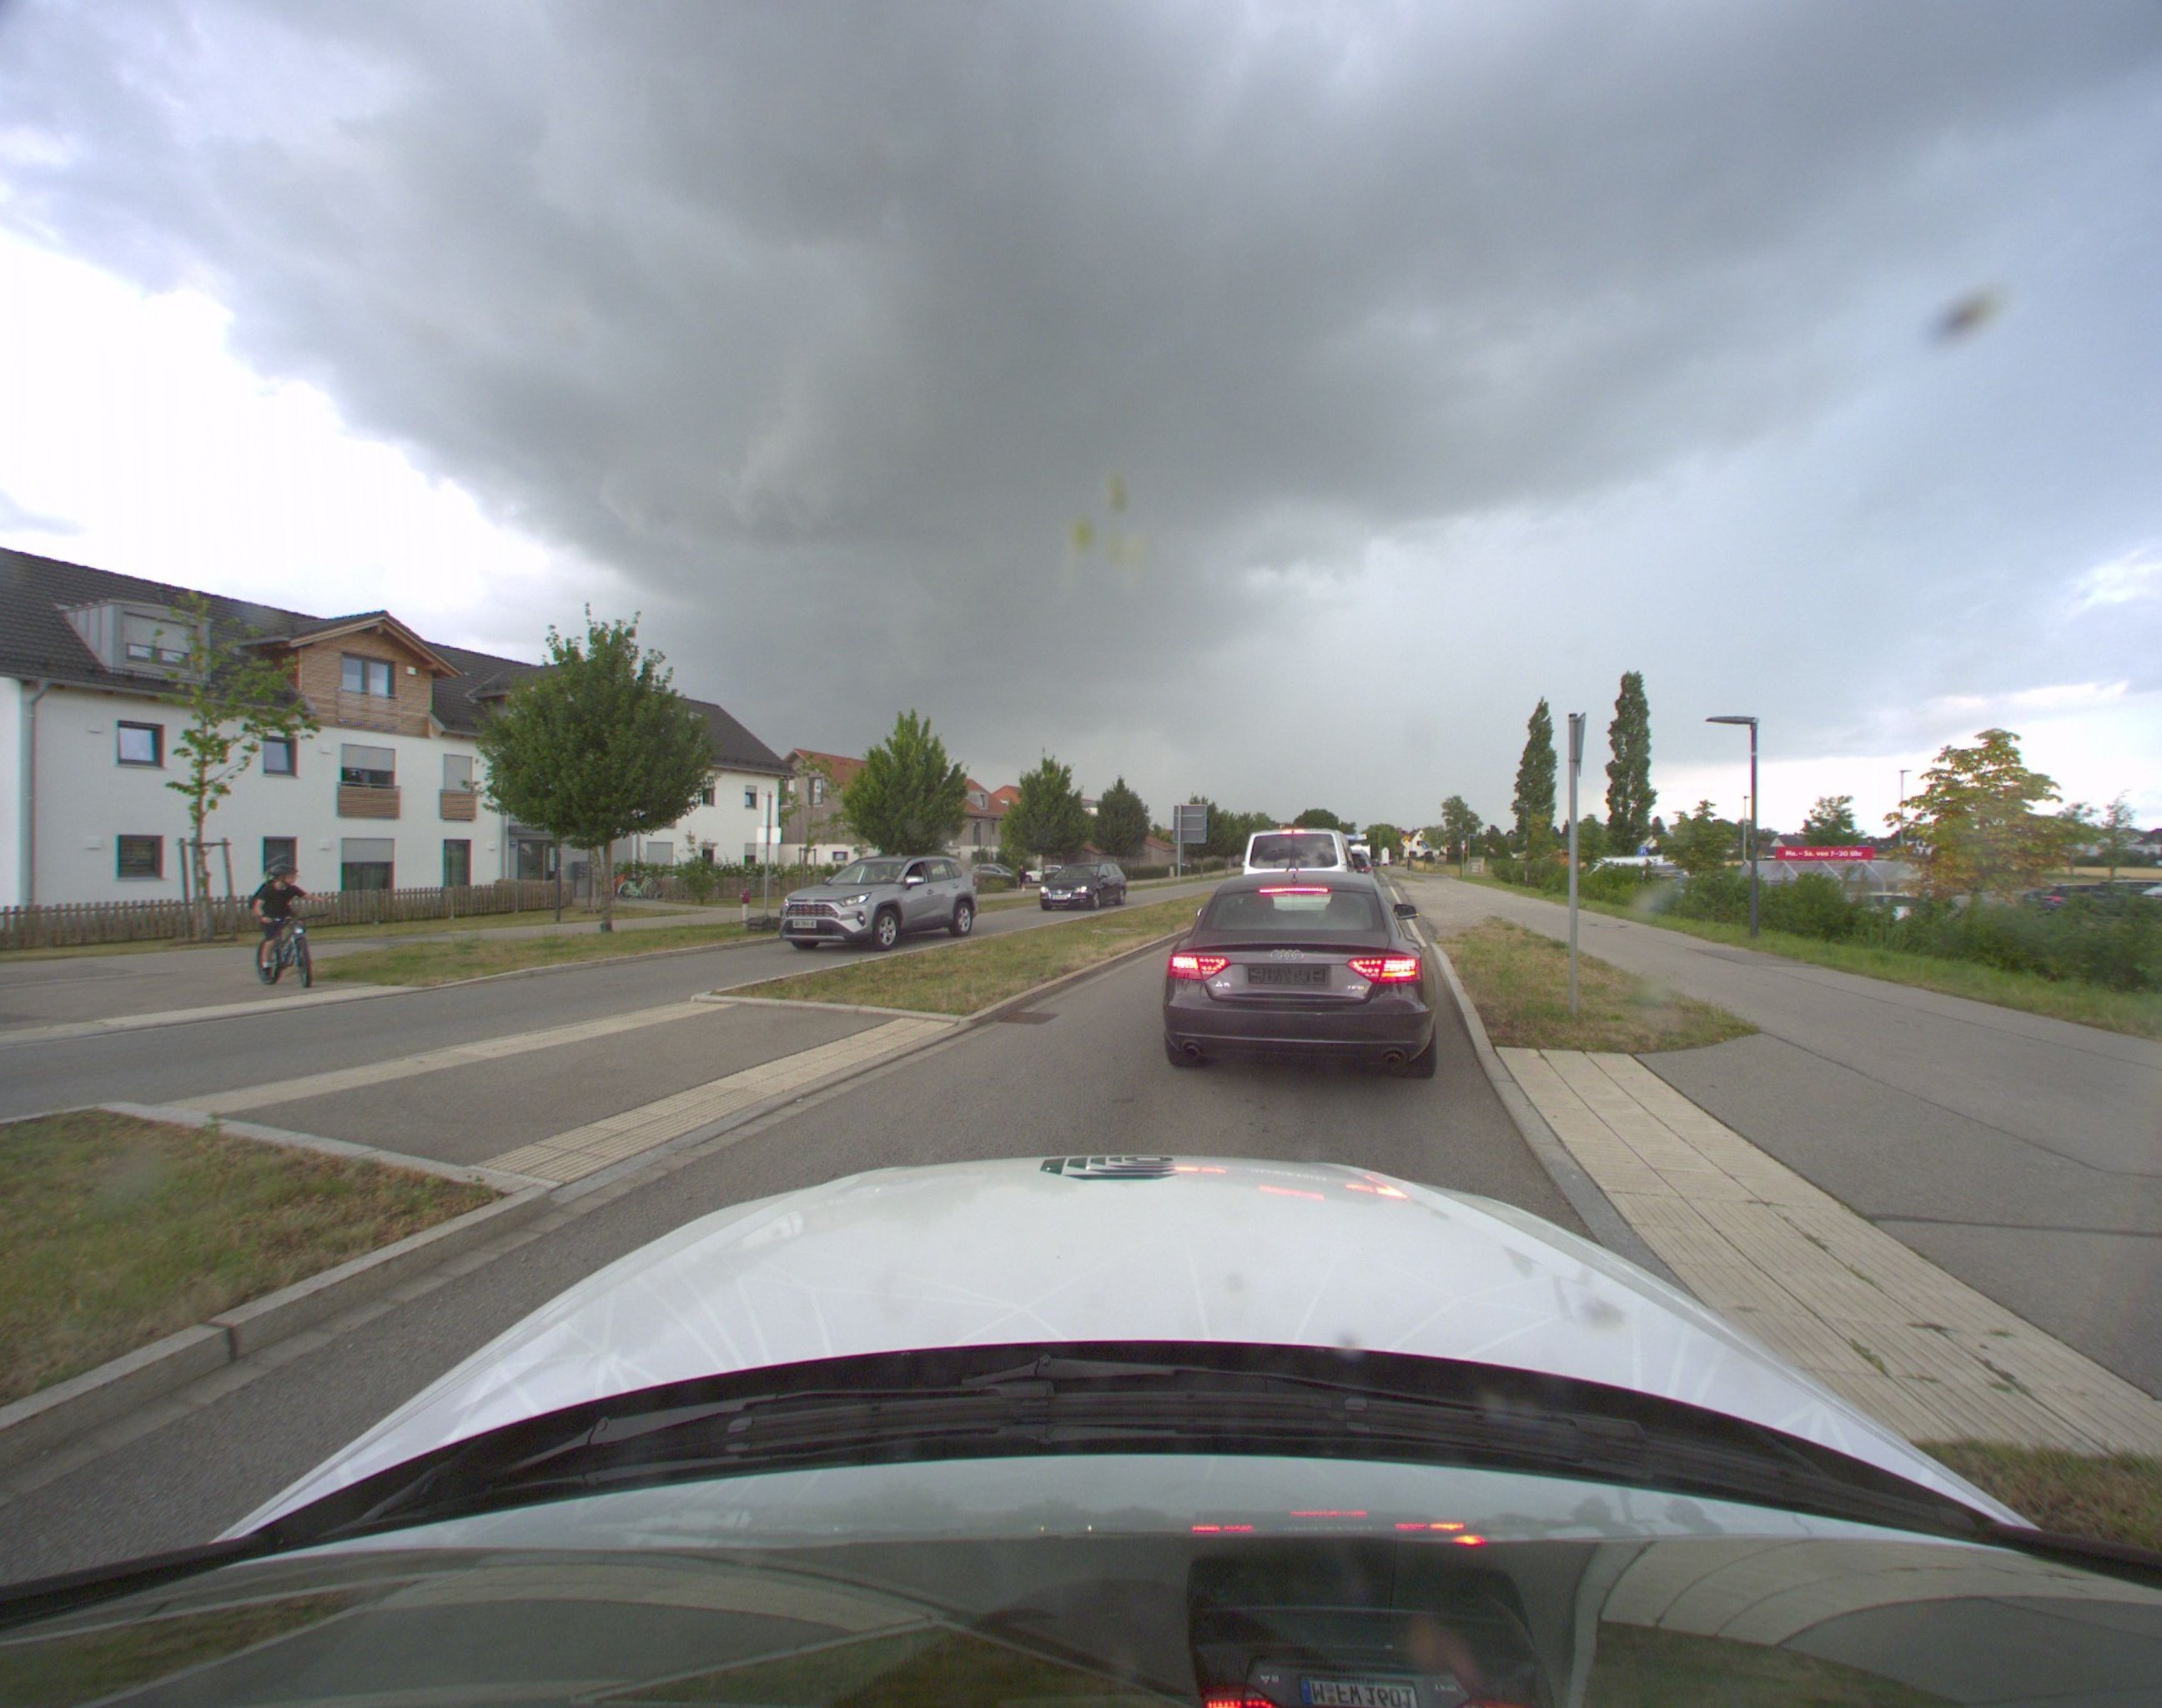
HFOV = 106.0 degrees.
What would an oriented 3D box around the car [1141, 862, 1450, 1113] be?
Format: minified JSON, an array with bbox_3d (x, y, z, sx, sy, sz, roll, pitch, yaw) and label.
[{"bbox_3d":[1.865,0.787,6.863,1.770,1.391,4.151,-1,0,18],"label":"car"}]

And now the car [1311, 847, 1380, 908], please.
[{"bbox_3d":[7.867,0.636,24.055,1.762,1.618,4.020,0,0,20],"label":"car"}]

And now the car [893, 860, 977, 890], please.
[{"bbox_3d":[-8.667,1.230,48.409,4.490,1.680,2.011,0,0,23],"label":"car"}]

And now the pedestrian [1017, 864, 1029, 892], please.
[{"bbox_3d":[-3.392,1.399,47.661,0.582,1.559,0.656,0,0,-16],"label":"pedestrian"}]

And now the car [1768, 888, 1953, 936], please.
[{"bbox_3d":[26.911,1.980,28.314,4.197,1.440,2.010,0,0,20],"label":"car"}]

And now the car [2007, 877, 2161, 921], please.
[{"bbox_3d":[41.740,1.824,33.457,4.519,1.664,2.010,0,0,19],"label":"car"}]

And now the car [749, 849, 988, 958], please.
[{"bbox_3d":[-3.727,0.809,15.322,1.977,1.704,4.658,-2,-1,21],"label":"car"}]

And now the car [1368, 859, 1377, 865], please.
[{"bbox_3d":[55.559,1.517,155.360,1.600,1.272,3.479,0,0,20],"label":"car"}]

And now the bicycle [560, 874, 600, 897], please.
[{"bbox_3d":[-19.548,1.221,31.774,0.364,0.843,1.344,3,1,22],"label":"bicycle"}]

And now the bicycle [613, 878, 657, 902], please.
[{"bbox_3d":[-16.857,1.363,30.830,0.364,0.843,1.555,3,1,22],"label":"bicycle"}]

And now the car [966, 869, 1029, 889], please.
[{"bbox_3d":[-5.778,1.708,56.325,3.884,1.315,1.851,0,0,17],"label":"car"}]

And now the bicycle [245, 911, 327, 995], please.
[{"bbox_3d":[-10.266,1.235,10.500,1.691,0.946,0.500,-2,-1,37],"label":"bicycle"}]

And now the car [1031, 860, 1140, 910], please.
[{"bbox_3d":[0.253,0.934,25.878,1.737,1.416,4.481,-2,-1,25],"label":"car"}]

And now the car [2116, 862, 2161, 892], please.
[{"bbox_3d":[67.681,1.431,50.456,3.951,1.838,2.011,0,0,23],"label":"car"}]

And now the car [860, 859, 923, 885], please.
[{"bbox_3d":[-13.378,1.267,57.807,1.975,1.772,4.490,0,-1,25],"label":"car"}]

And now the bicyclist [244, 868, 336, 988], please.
[{"bbox_3d":[-10.179,0.920,10.485,0.858,1.446,0.729,-1,-1,38],"label":"bicyclist"}]

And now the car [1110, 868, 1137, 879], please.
[{"bbox_3d":[4.164,1.868,79.147,2.454,1.028,1.190,0,0,14],"label":"car"}]

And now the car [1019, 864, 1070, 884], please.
[{"bbox_3d":[-2.917,1.572,65.515,3.701,1.482,1.694,0,0,16],"label":"car"}]

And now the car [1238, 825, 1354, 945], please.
[{"bbox_3d":[4.137,0.497,15.382,1.852,1.934,4.018,0,0,17],"label":"car"}]

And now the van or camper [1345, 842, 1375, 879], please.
[{"bbox_3d":[26.671,0.629,77.765,2.603,3.324,6.854,0,-1,19],"label":"van or camper"}]

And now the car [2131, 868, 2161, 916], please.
[{"bbox_3d":[48.900,1.625,34.729,5.078,2.013,2.005,0,1,9],"label":"car"}]

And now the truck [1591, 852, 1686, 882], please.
[{"bbox_3d":[36.486,0.851,53.434,4.760,1.872,2.008,1,-1,15],"label":"truck"}]

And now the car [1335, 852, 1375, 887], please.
[{"bbox_3d":[13.535,0.746,40.087,1.762,1.618,4.019,-1,-1,19],"label":"car"}]
